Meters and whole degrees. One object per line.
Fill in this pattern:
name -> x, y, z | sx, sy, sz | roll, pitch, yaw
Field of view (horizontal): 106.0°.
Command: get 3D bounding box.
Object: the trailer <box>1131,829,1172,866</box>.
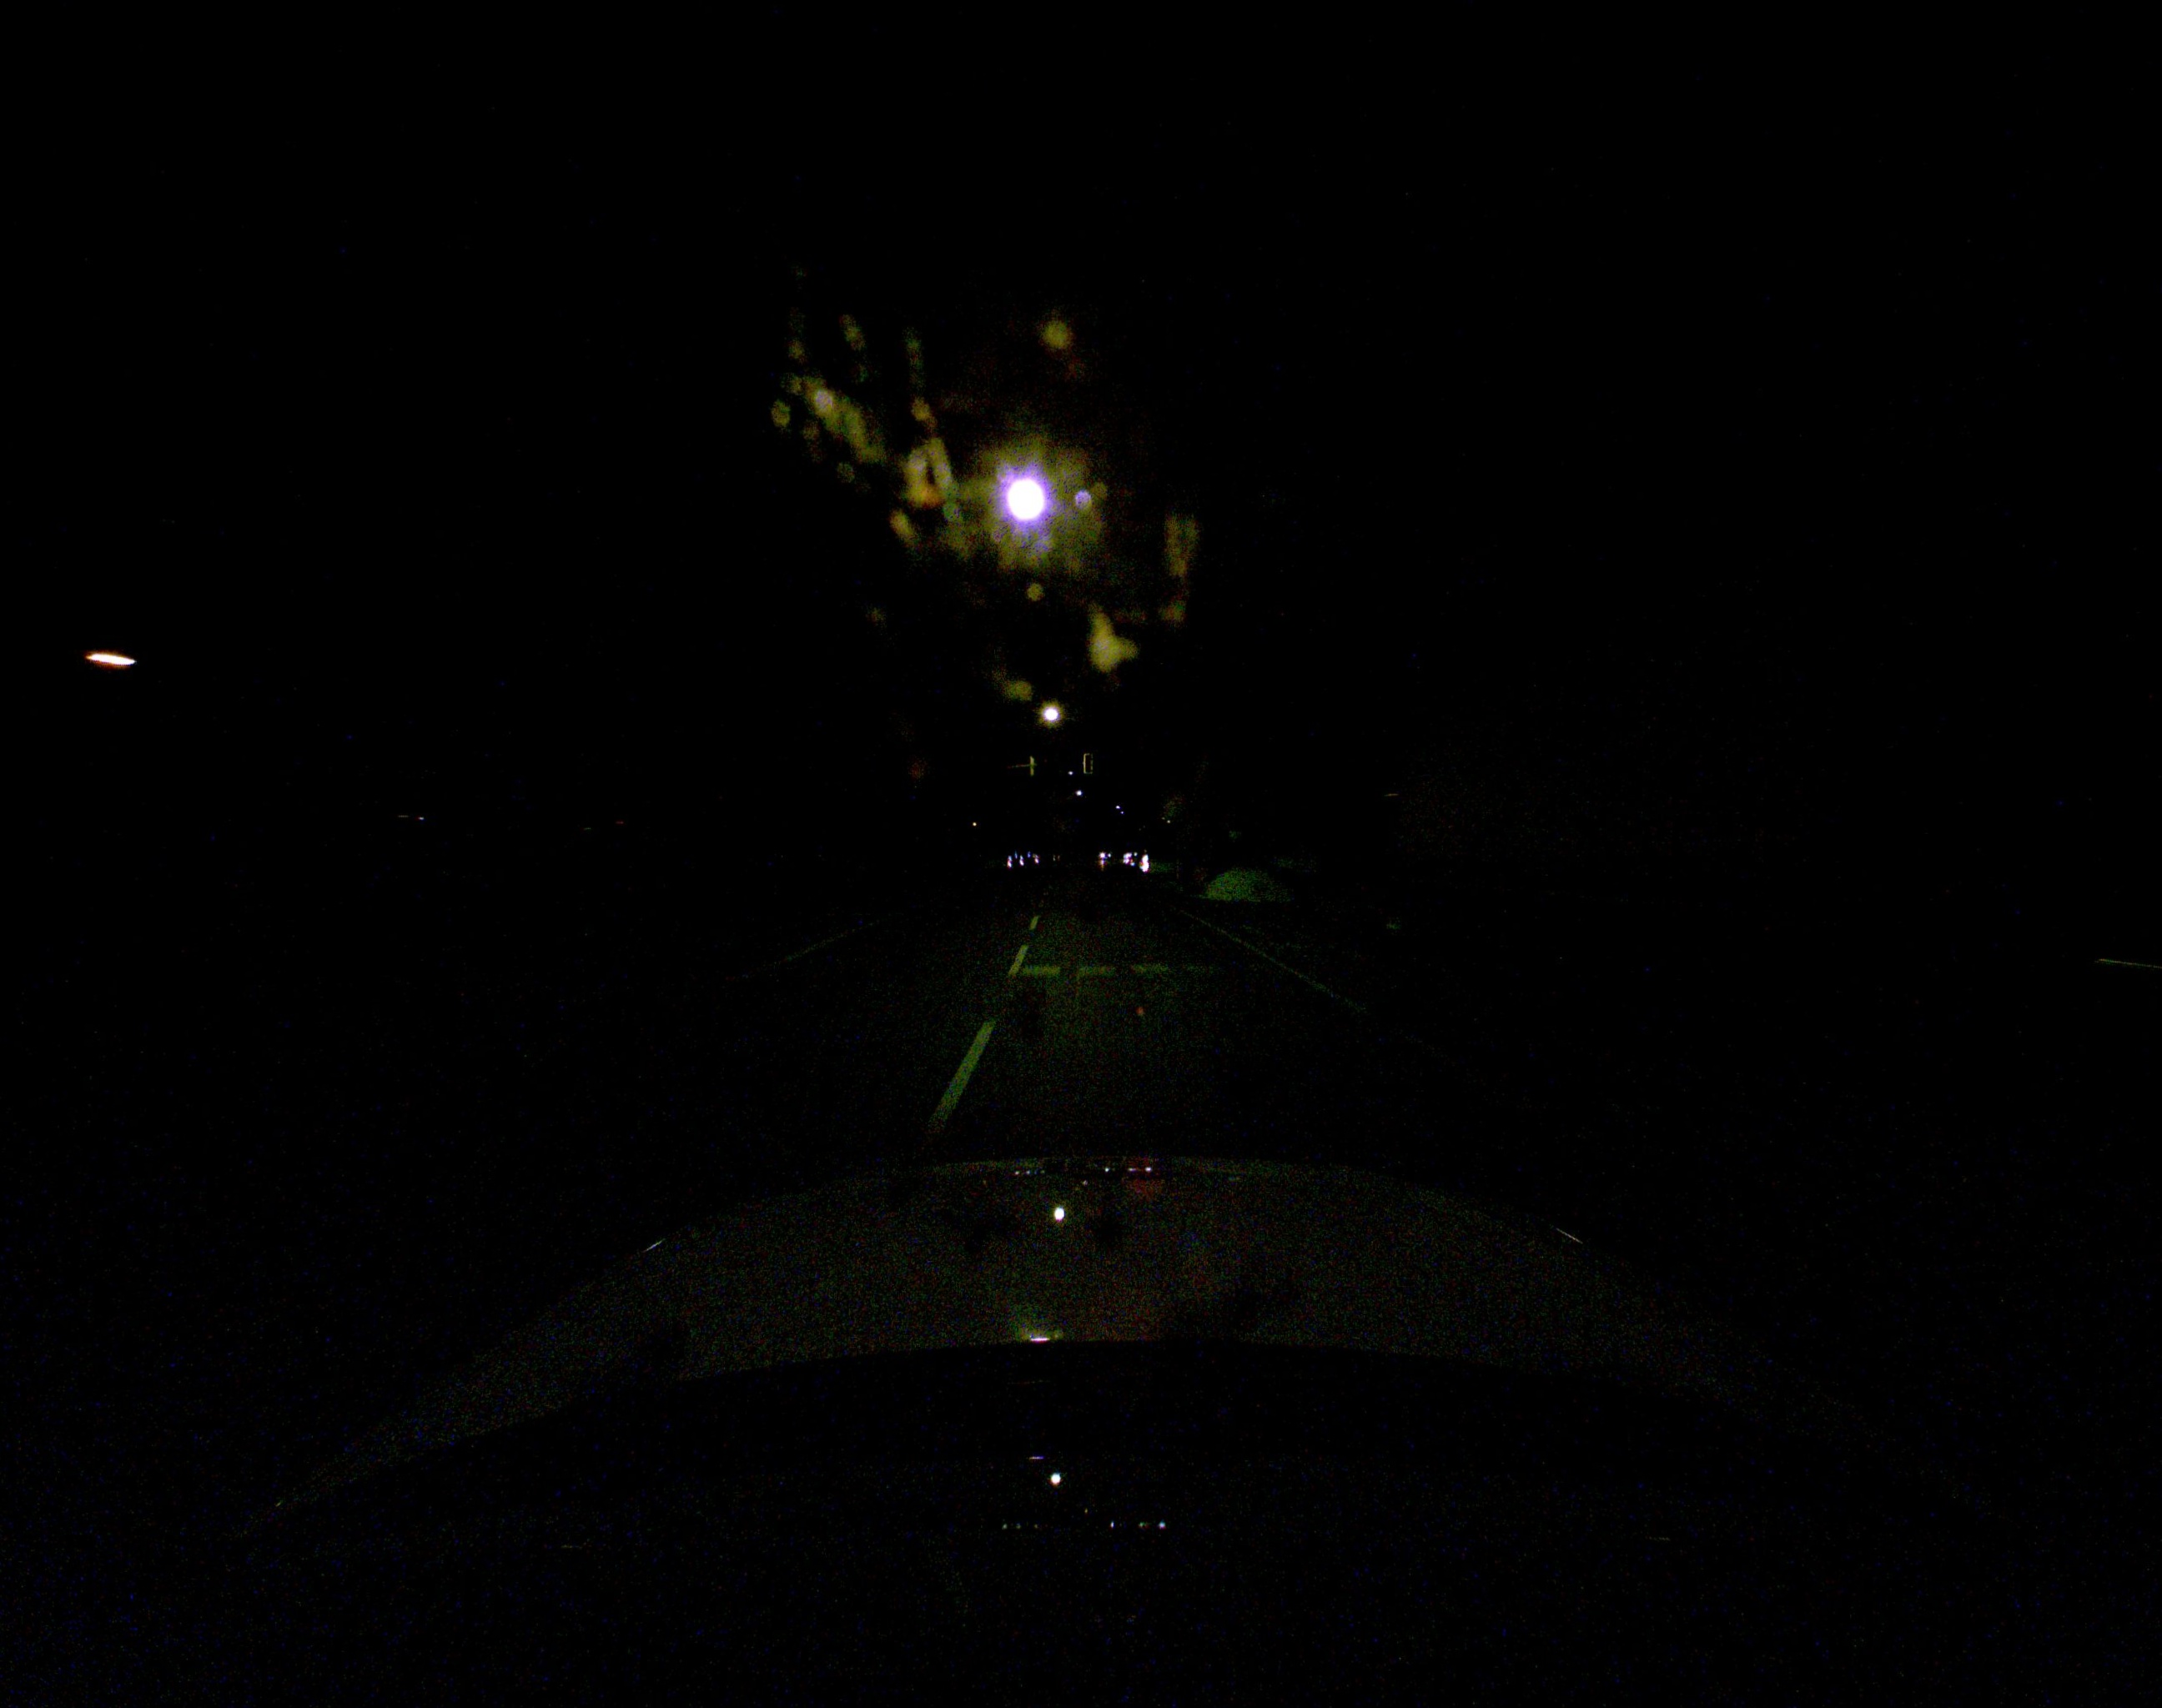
trailer -> 5.588, -0.477, 64.835 | 2.607, 2.845, 4.704 | 1, 0, -3

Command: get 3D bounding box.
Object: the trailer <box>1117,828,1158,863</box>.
trailer -> 5.446, -0.779, 79.714 | 3.473, 3.219, 4.860 | 1, 0, -3

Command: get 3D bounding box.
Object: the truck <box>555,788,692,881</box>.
truck -> -20.624, -0.855, 36.962 | 3.035, 3.932, 4.522 | 1, 0, 16

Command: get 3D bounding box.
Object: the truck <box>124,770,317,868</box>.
truck -> -41.380, -1.582, 39.414 | 3.033, 4.357, 5.592 | 1, 0, 18

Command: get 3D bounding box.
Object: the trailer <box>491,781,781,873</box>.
trailer -> -23.020, -1.231, 44.190 | 3.031, 4.148, 15.084 | 1, 0, 23

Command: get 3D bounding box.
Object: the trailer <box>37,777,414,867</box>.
trailer -> -47.903, -1.577, 47.084 | 3.033, 4.357, 15.074 | 1, 0, 19

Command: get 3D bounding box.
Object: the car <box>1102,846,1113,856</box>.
car -> 4.176, -0.480, 127.666 | 1.690, 1.576, 2.957 | -2, 0, 1

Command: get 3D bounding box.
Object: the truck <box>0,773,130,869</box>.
truck -> -50.575, -1.548, 39.106 | 3.033, 4.357, 5.592 | 1, 0, 18

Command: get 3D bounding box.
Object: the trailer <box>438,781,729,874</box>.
trailer -> -26.746, -1.261, 45.673 | 3.032, 4.357, 15.081 | 1, 0, 22

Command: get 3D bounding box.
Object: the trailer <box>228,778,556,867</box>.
trailer -> -38.716, -1.590, 47.358 | 3.033, 4.357, 15.074 | 1, 0, 19

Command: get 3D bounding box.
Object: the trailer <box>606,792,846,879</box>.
trailer -> -18.410, -0.865, 44.547 | 3.035, 3.932, 15.067 | 1, 0, 16

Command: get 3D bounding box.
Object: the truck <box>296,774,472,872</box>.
truck -> -33.411, -1.412, 39.310 | 3.032, 4.357, 5.595 | 1, 0, 21

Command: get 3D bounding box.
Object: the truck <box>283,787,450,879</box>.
truck -> -36.369, -1.032, 41.721 | 3.033, 4.357, 5.592 | 1, 0, 18

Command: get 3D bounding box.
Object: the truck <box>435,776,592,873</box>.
truck -> -25.876, -1.283, 37.377 | 3.031, 4.148, 4.963 | 1, 0, 23

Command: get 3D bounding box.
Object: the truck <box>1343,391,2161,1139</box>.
truck -> 5.962, -0.467, 9.243 | 2.746, 3.783, 10.225 | 0, 0, 0

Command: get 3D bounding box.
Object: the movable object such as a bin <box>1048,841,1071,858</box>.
movable object such as a bin -> -2.986, -0.643, 114.839 | 1.980, 2.376, 4.719 | -1, 0, 13

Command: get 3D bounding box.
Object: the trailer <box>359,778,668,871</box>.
trailer -> -30.791, -1.421, 45.968 | 3.032, 4.357, 15.081 | 1, 0, 21

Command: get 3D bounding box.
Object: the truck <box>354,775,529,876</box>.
truck -> -29.721, -1.267, 38.147 | 3.032, 4.357, 5.595 | 1, 0, 22

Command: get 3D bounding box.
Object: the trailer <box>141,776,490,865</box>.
trailer -> -43.097, -1.684, 47.383 | 3.033, 4.357, 15.074 | 1, 0, 19

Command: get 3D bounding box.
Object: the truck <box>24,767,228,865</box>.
truck -> -45.799, -1.705, 39.285 | 3.033, 4.357, 5.592 | 1, 0, 18

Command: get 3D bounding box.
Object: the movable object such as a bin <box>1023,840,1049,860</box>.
movable object such as a bin -> -5.619, -0.482, 102.341 | 1.980, 2.376, 4.719 | -1, 1, 13

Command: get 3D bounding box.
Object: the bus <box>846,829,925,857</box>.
bus -> -23.535, -1.309, 99.105 | 2.988, 3.204, 12.733 | 0, 1, 18
